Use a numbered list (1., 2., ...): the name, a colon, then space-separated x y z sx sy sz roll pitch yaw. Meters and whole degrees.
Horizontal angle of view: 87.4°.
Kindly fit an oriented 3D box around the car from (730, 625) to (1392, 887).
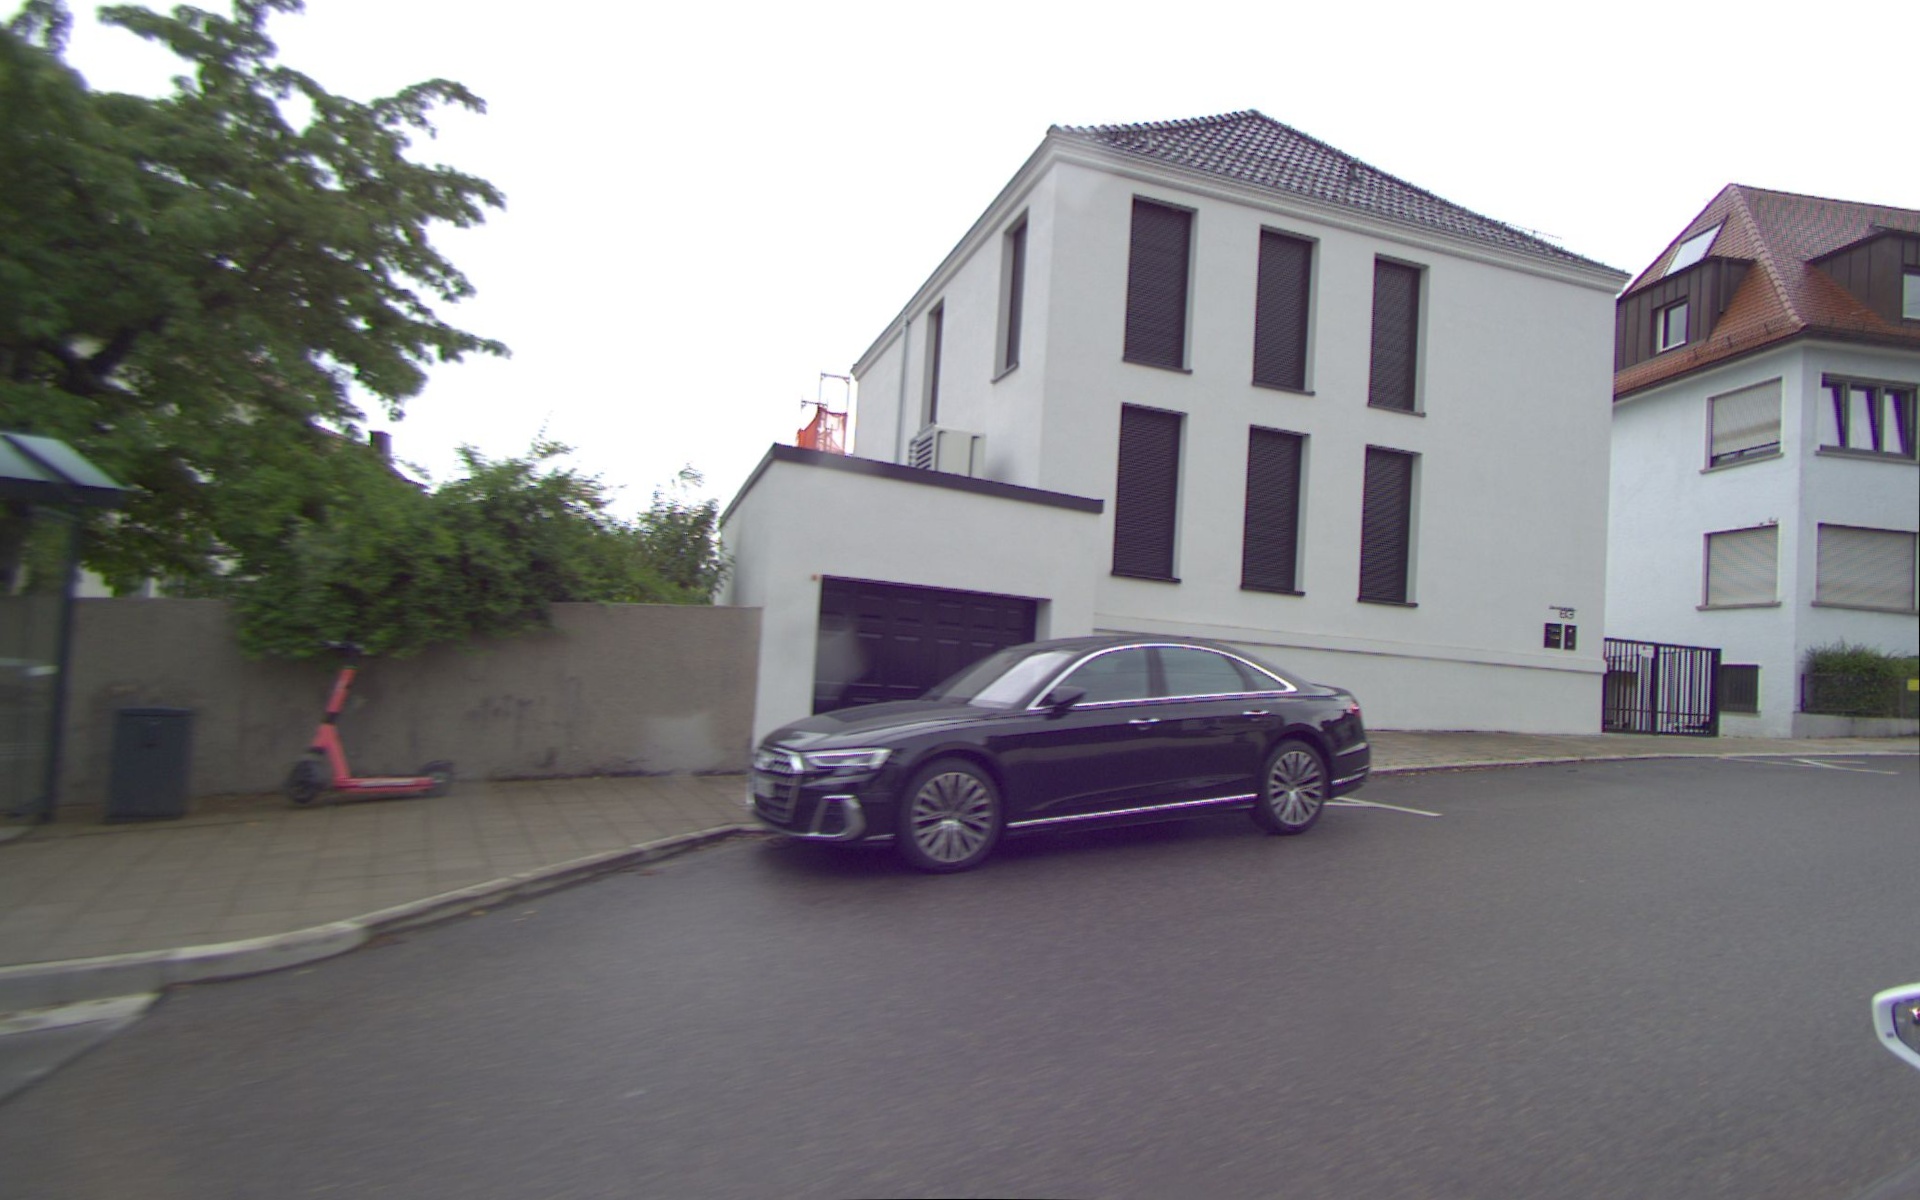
1. car: 0.900 0.994 7.766 4.928 1.505 1.822 2 -3 -28

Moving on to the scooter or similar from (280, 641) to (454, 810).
1. scooter or similar: -4.574 0.945 7.804 1.109 1.236 0.336 2 -1 -29
